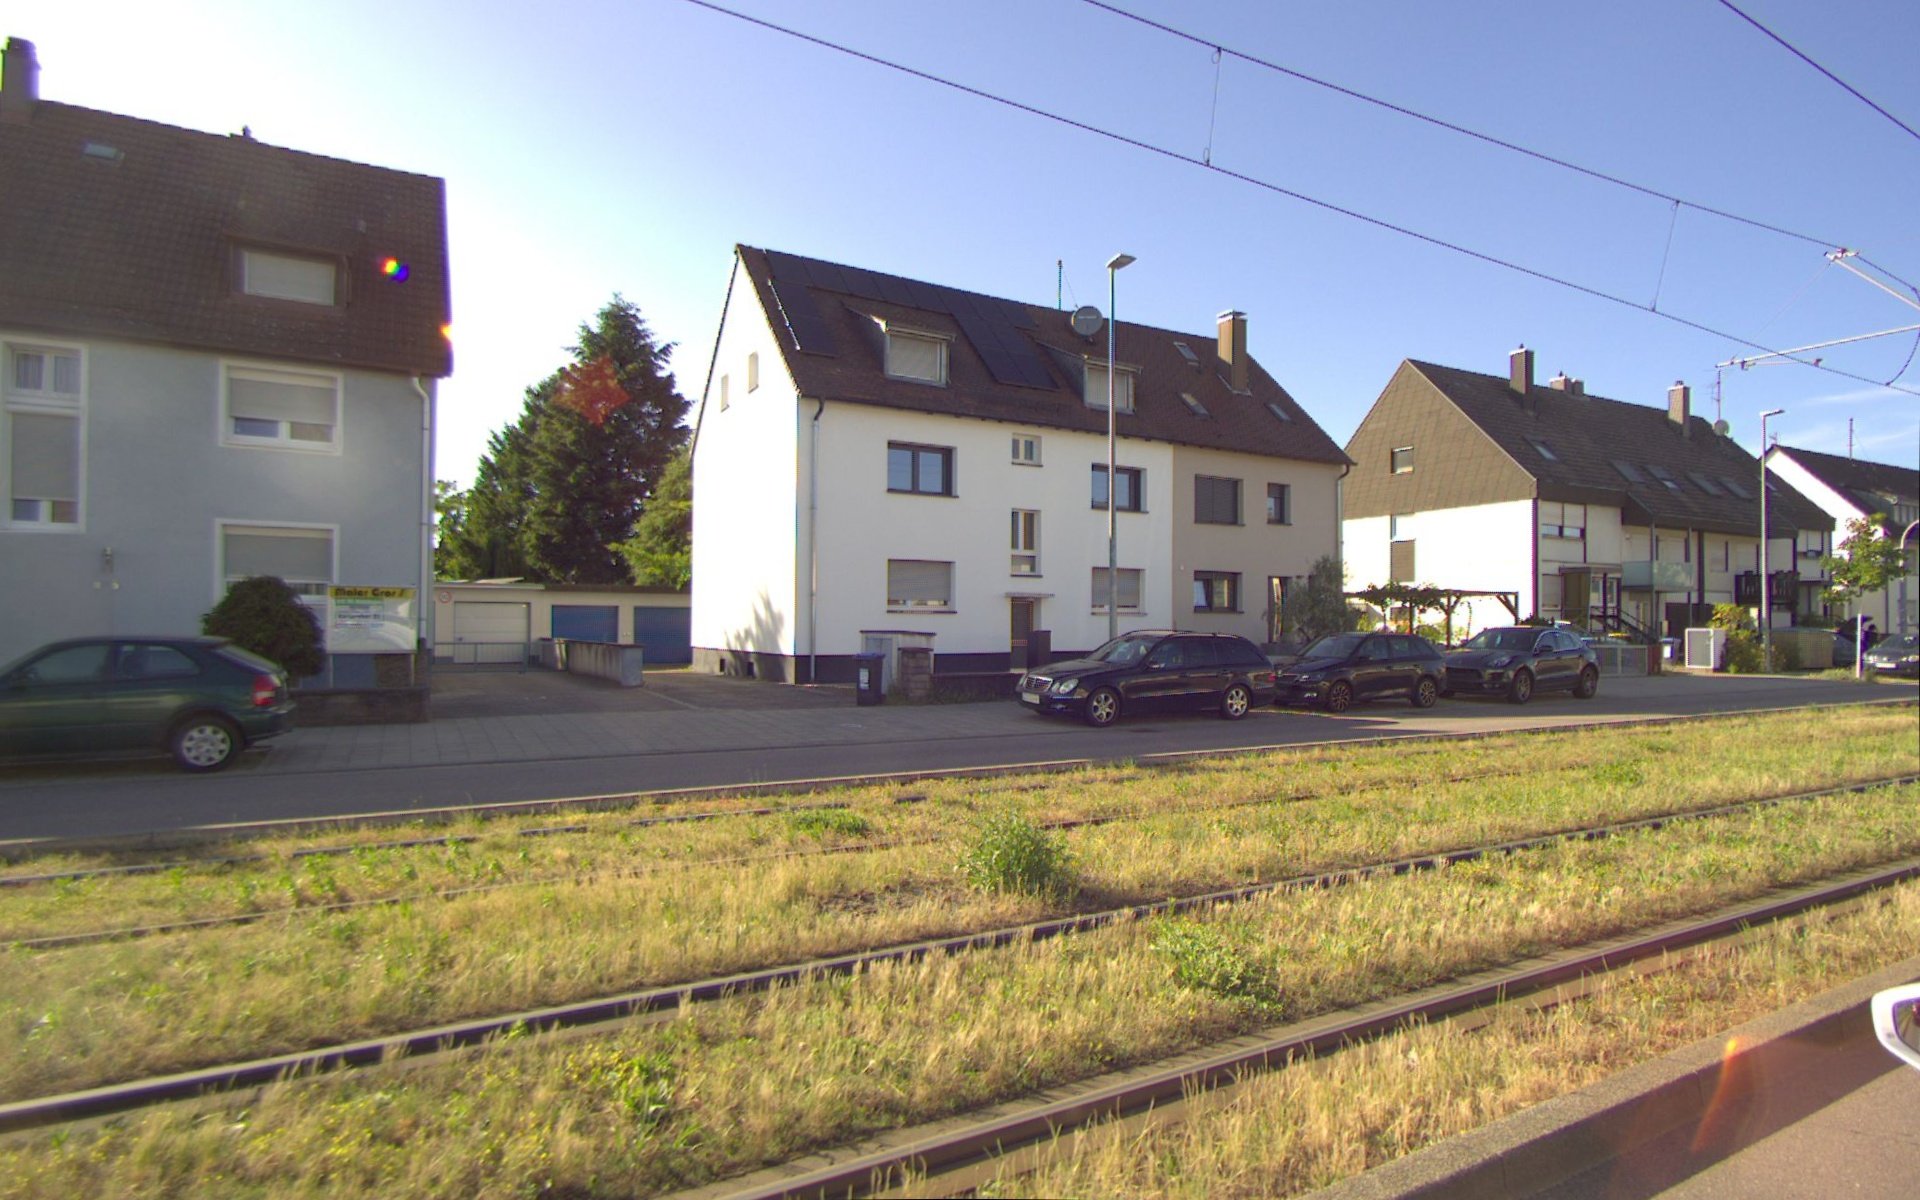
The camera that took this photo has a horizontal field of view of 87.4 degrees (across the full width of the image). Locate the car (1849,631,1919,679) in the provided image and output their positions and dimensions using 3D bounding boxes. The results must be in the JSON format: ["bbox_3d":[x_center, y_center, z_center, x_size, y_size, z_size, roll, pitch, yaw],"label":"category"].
[{"bbox_3d":[30.948,1.745,32.730,3.666,1.472,1.614,1,-2,-25],"label":"car"}]

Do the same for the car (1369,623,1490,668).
[{"bbox_3d":[18.433,1.735,39.628,1.832,1.676,4.145,1,-1,-26],"label":"car"}]

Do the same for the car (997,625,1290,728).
[{"bbox_3d":[3.187,1.243,17.238,4.817,1.543,1.870,1,-1,-27],"label":"car"}]

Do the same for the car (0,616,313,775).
[{"bbox_3d":[-9.122,0.907,10.218,4.115,1.482,1.783,1,-1,-29],"label":"car"}]

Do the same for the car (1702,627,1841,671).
[{"bbox_3d":[31.317,1.870,38.871,1.718,1.588,3.875,2,-2,-36],"label":"car"}]

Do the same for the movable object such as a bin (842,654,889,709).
[{"bbox_3d":[-1.682,1.445,17.880,0.696,0.939,0.386,3,-2,-31],"label":"movable object such as a bin"}]

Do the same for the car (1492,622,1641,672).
[{"bbox_3d":[21.102,1.596,35.079,1.740,1.638,4.142,1,-2,-32],"label":"car"}]

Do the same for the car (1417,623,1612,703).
[{"bbox_3d":[12.441,1.340,22.453,4.759,1.618,1.793,1,-2,-33],"label":"car"}]

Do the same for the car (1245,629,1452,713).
[{"bbox_3d":[7.687,1.330,19.779,4.149,1.494,1.514,1,-1,-29],"label":"car"}]

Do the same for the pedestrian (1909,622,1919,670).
[{"bbox_3d":[35.593,1.711,37.246,0.529,1.769,0.466,1,-1,-29],"label":"pedestrian"}]
